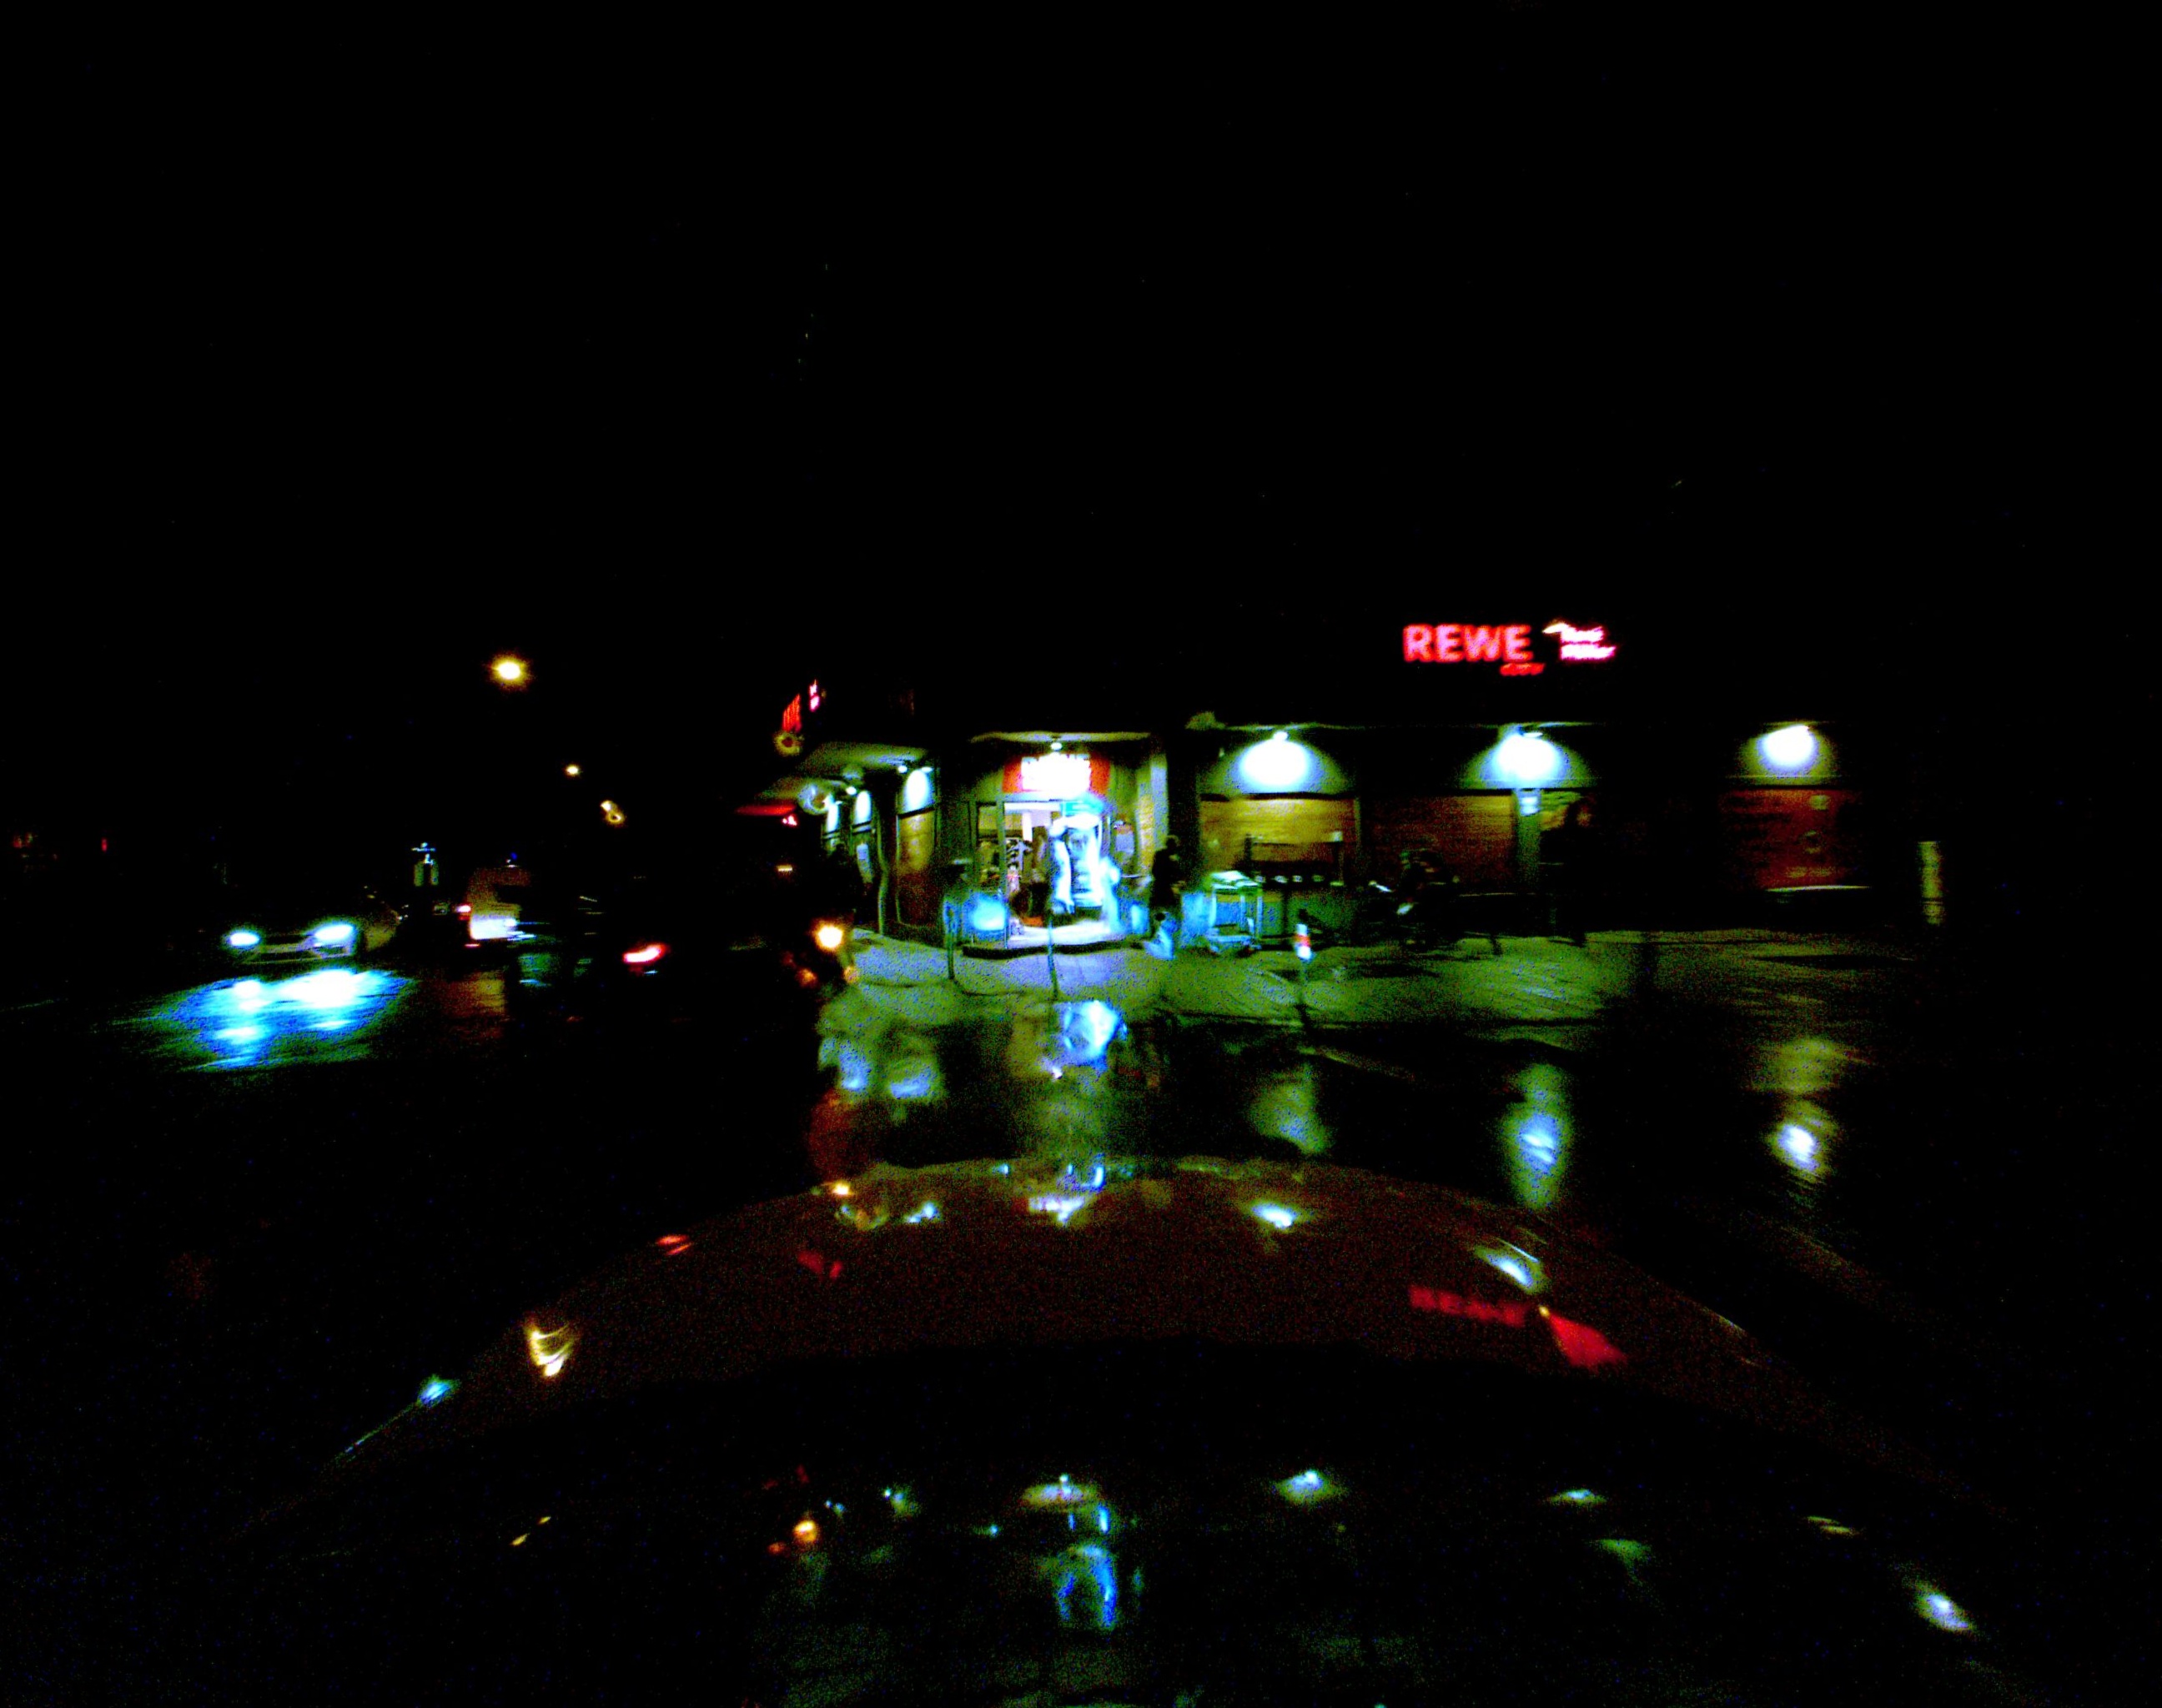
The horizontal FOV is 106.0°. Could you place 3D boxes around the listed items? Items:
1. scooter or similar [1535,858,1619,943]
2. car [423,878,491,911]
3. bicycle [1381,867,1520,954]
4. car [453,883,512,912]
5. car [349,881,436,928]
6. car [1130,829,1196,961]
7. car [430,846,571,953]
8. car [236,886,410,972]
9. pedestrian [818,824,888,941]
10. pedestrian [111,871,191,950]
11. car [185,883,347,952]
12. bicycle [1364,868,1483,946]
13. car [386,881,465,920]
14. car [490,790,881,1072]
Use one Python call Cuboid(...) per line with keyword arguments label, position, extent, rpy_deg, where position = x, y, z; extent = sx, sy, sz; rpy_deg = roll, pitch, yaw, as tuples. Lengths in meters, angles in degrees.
Cuboid(label="scooter or similar", position=(7.559, 0.672, 12.469), extent=(0.523, 1.229, 1.313), rpy_deg=(0, 0, 2))
Cuboid(label="car", position=(-29.820, 1.914, 39.062), extent=(1.763, 1.449, 4.581), rpy_deg=(2, -2, -27))
Cuboid(label="bicycle", position=(5.214, 0.786, 11.529), extent=(1.775, 1.174, 0.384), rpy_deg=(-1, -1, 0))
Cuboid(label="car", position=(-31.949, 2.282, 43.581), extent=(2.005, 1.449, 3.962), rpy_deg=(1, -2, -29))
Cuboid(label="car", position=(-23.867, 1.697, 28.362), extent=(1.595, 1.449, 3.471), rpy_deg=(0, -1, -28))
Cuboid(label="car", position=(1.178, 0.579, 11.923), extent=(0.871, 1.841, 0.964), rpy_deg=(-1, 0, 1))
Cuboid(label="car", position=(-12.185, 0.862, 17.137), extent=(2.139, 1.922, 4.772), rpy_deg=(0, -1, -36))
Cuboid(label="car", position=(-15.724, 1.457, 17.148), extent=(1.571, 1.427, 4.033), rpy_deg=(-2, 0, -27))
Cuboid(label="pedestrian", position=(-4.529, 0.541, 16.143), extent=(1.060, 2.208, 0.961), rpy_deg=(-2, -1, -28))
Cuboid(label="pedestrian", position=(-21.757, 1.300, 19.084), extent=(0.807, 1.766, 1.008), rpy_deg=(1, -2, -22))
Cuboid(label="car", position=(-19.669, 1.476, 19.870), extent=(1.595, 1.464, 3.987), rpy_deg=(3, -2, -28))
Cuboid(label="bicycle", position=(5.227, 0.814, 12.461), extent=(1.637, 1.174, 0.384), rpy_deg=(0, -4, 0))
Cuboid(label="car", position=(-26.748, 1.850, 33.348), extent=(1.700, 1.401, 4.277), rpy_deg=(0, -1, -28))
Cuboid(label="car", position=(-4.150, 0.593, 8.118), extent=(2.142, 1.991, 4.543), rpy_deg=(0, -1, -45))
